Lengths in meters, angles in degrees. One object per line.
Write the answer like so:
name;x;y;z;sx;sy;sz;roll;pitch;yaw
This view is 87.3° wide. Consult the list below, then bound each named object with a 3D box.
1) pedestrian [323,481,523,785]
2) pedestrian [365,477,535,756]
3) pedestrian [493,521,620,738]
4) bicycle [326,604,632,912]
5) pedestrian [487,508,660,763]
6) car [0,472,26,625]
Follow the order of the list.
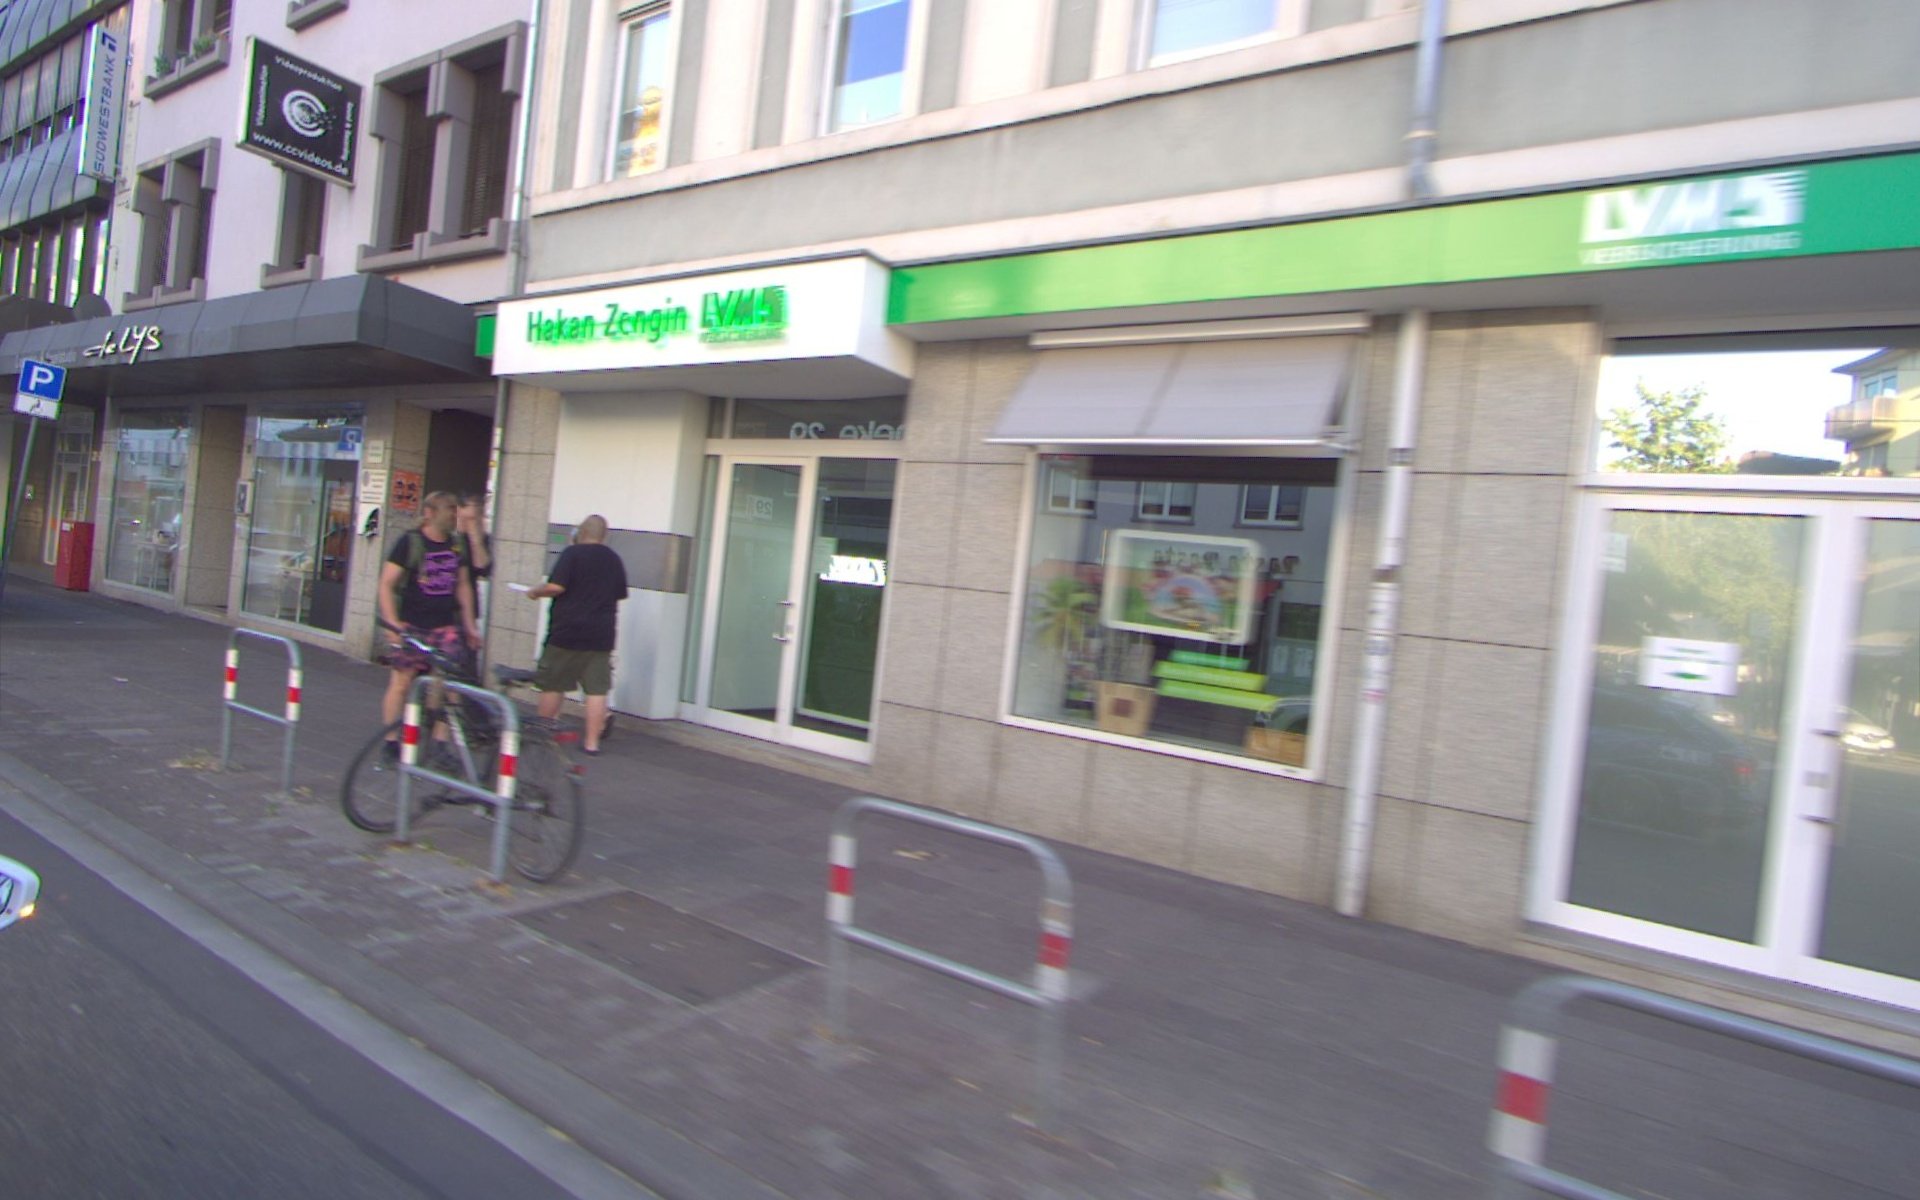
pedestrian;-3.576;0.197;6.715;0.836;1.852;0.737;7;2;32
pedestrian;-3.857;0.109;7.609;0.864;1.953;0.661;7;2;32
pedestrian;-3.456;0.236;8.617;0.668;1.741;0.649;7;3;34
bicycle;-2.338;0.681;4.833;1.466;1.162;0.534;6;1;32
pedestrian;-3.024;0.255;7.878;0.913;1.829;0.766;7;2;35
car;-13.330;-0.824;12.138;4.503;1.750;1.993;6;2;34
